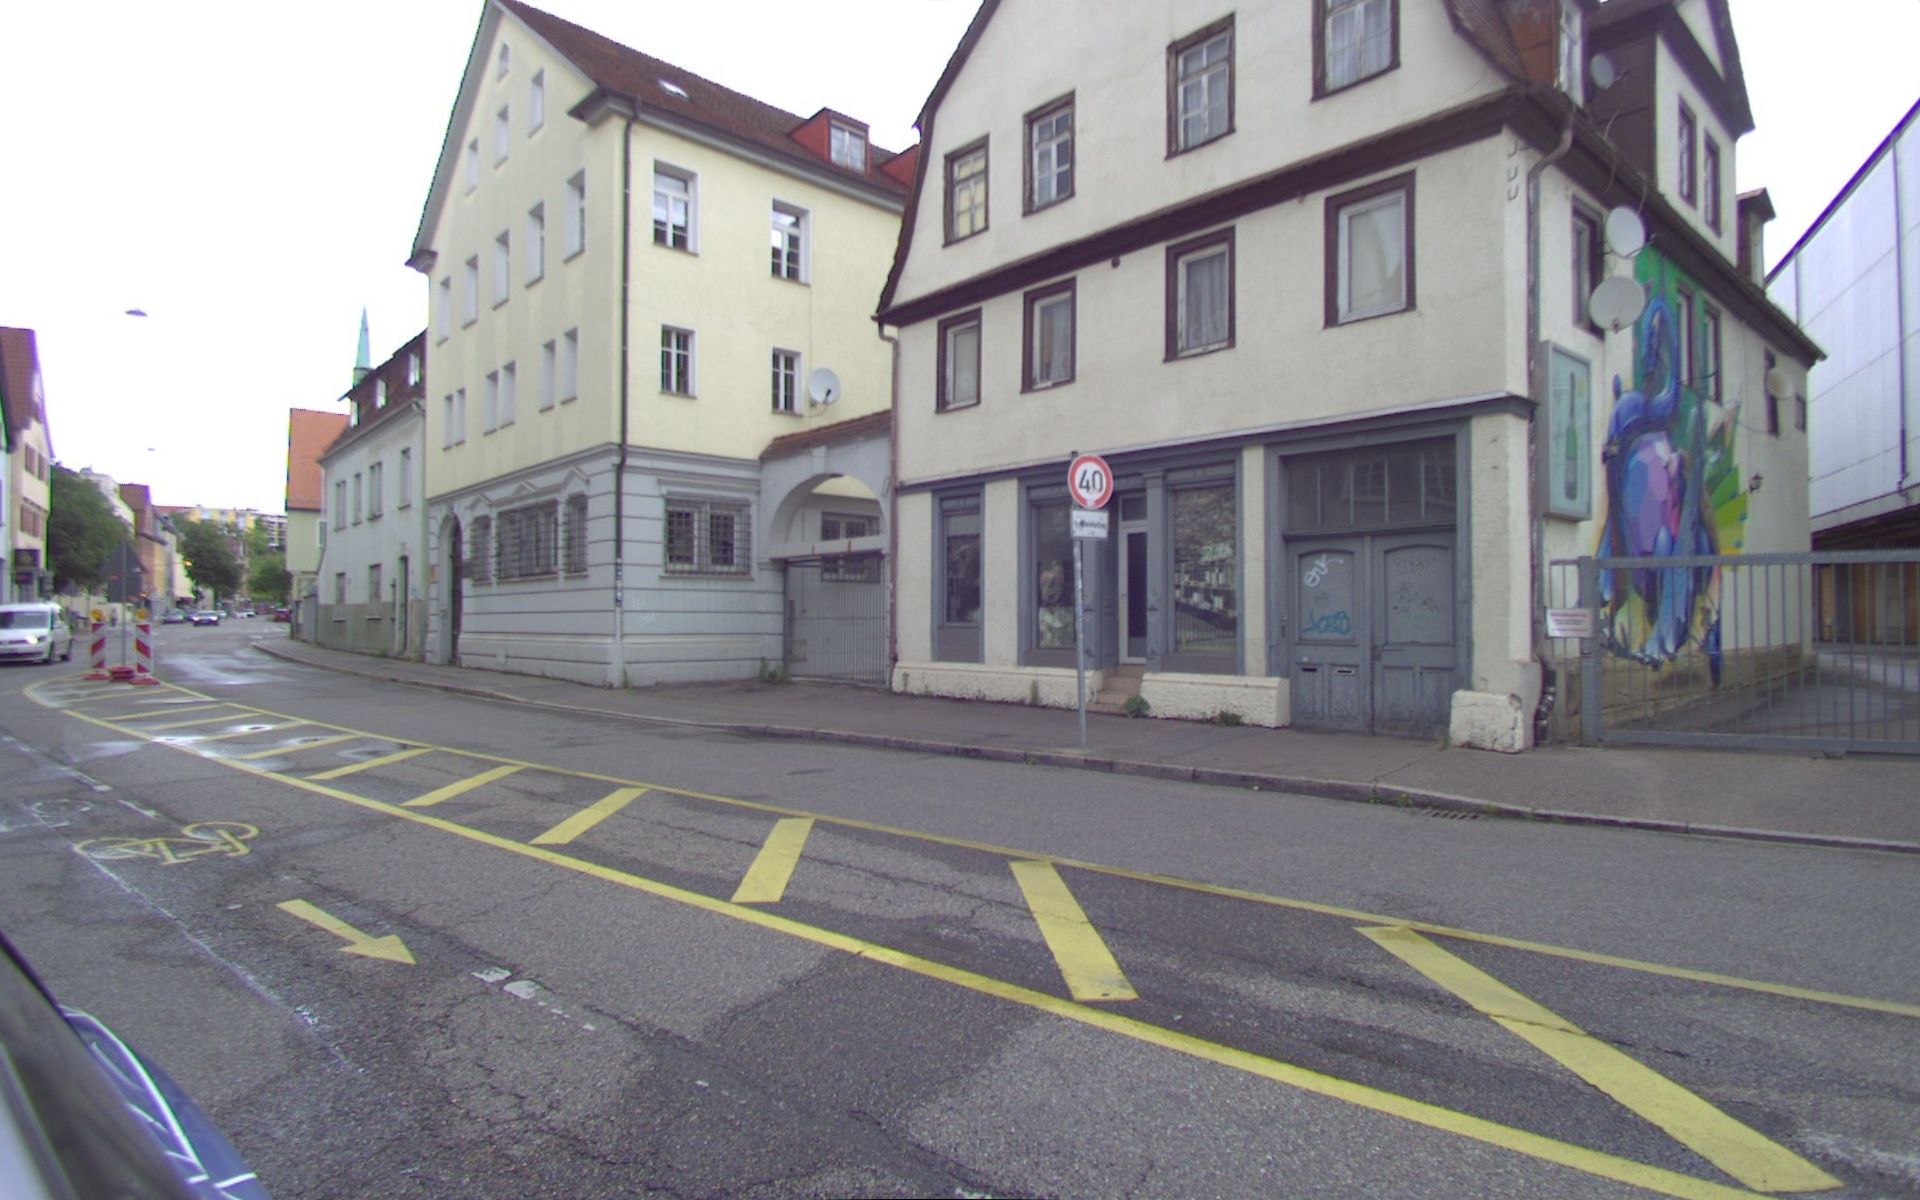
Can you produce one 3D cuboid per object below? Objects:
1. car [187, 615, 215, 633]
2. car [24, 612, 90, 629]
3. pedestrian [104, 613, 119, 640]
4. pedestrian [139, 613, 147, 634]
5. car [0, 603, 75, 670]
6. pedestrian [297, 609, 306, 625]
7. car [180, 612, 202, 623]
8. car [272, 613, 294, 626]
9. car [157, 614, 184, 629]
[{"bbox_3d":[-72.029,2.261,96.073,1.967,1.691,4.010,0,0,-34],"label":"car"},{"bbox_3d":[-77.440,1.747,86.881,3.932,1.475,2.006,0,0,-33],"label":"car"},{"bbox_3d":[-75.752,2.361,90.352,0.888,2.328,0.822,1,-2,-36],"label":"pedestrian"},{"bbox_3d":[-83.392,2.376,103.282,0.650,2.131,0.647,1,-2,-39],"label":"pedestrian"},{"bbox_3d":[-27.237,1.003,29.215,1.966,1.800,4.479,2,-1,-34],"label":"car"},{"bbox_3d":[-82.937,2.140,127.431,0.823,2.029,0.847,1,-2,-36],"label":"pedestrian"},{"bbox_3d":[-96.609,2.166,127.188,1.792,1.399,4.011,2,-2,-32],"label":"car"},{"bbox_3d":[-85.896,2.461,128.410,2.178,1.690,4.509,2,-2,-36],"label":"car"},{"bbox_3d":[-84.985,2.297,108.980,2.001,1.567,4.010,2,-2,-35],"label":"car"}]
